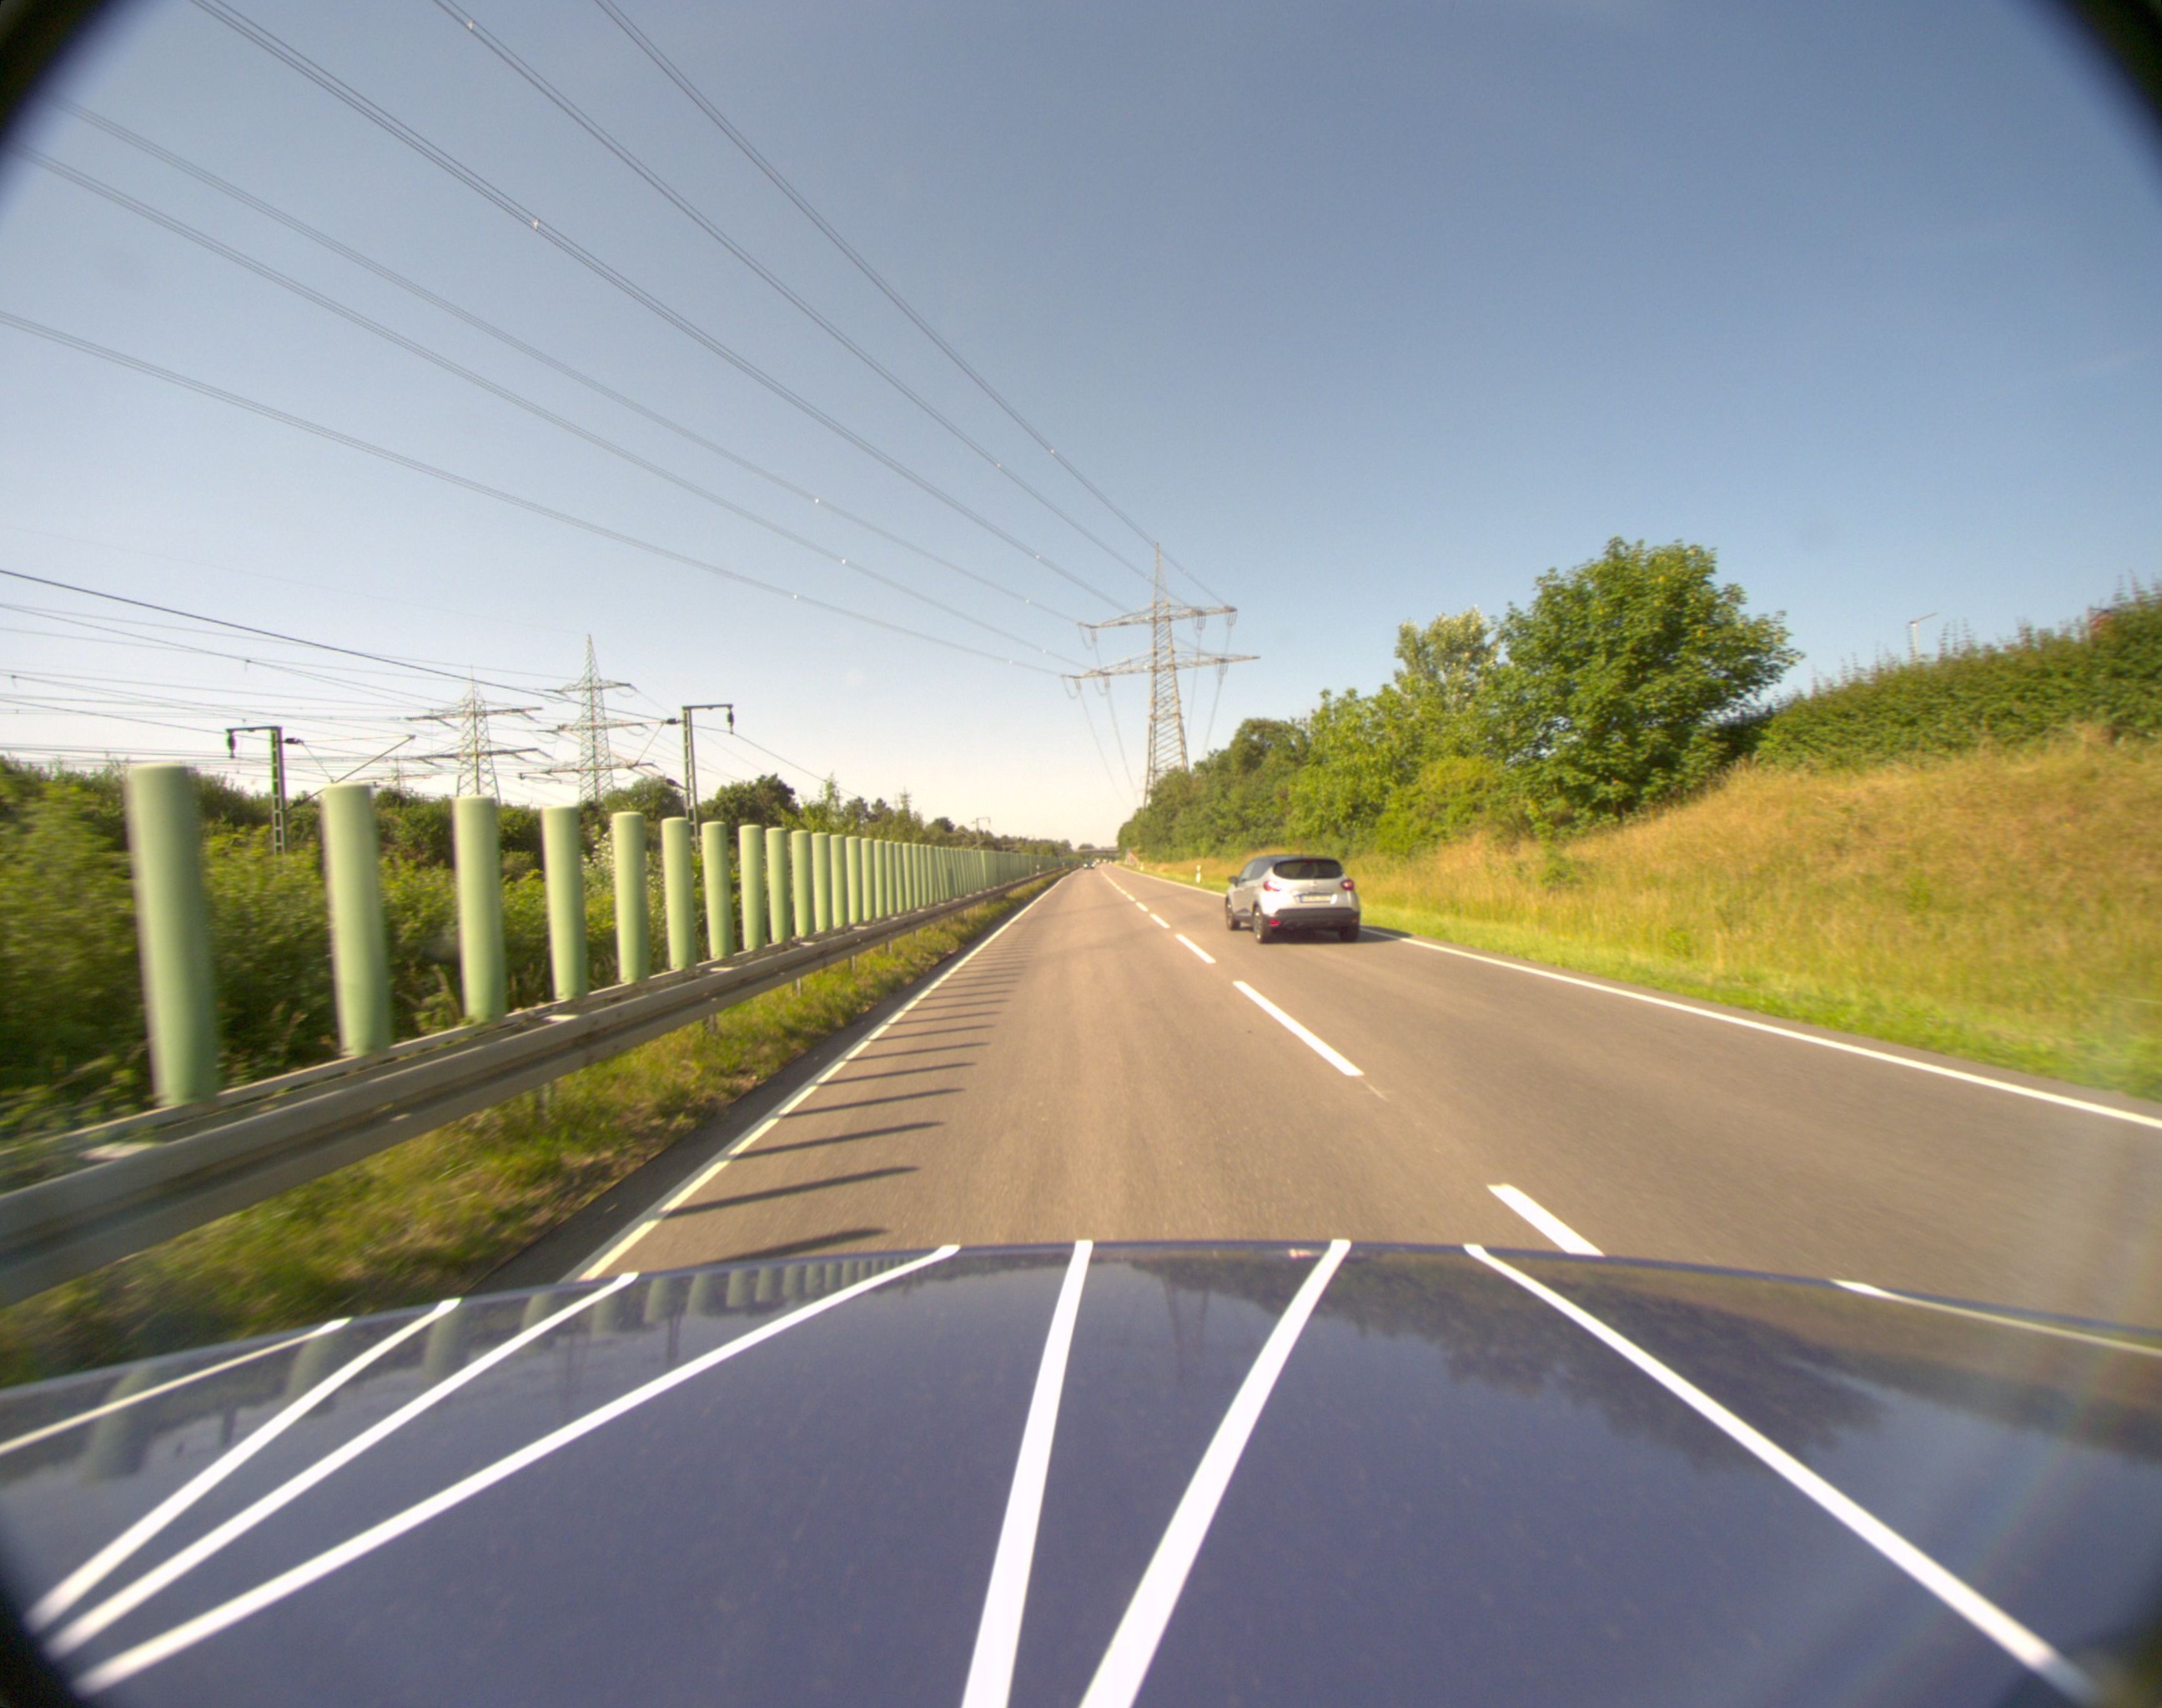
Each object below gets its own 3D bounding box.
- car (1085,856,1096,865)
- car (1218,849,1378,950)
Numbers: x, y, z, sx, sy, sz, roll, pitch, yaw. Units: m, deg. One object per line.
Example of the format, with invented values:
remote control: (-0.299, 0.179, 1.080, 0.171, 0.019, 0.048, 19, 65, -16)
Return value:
car: (1.718, 1.106, 131.747, 1.787, 1.550, 4.001, -1, 0, 2)
car: (3.896, 0.738, 14.387, 1.800, 1.584, 3.999, -2, 1, -1)
